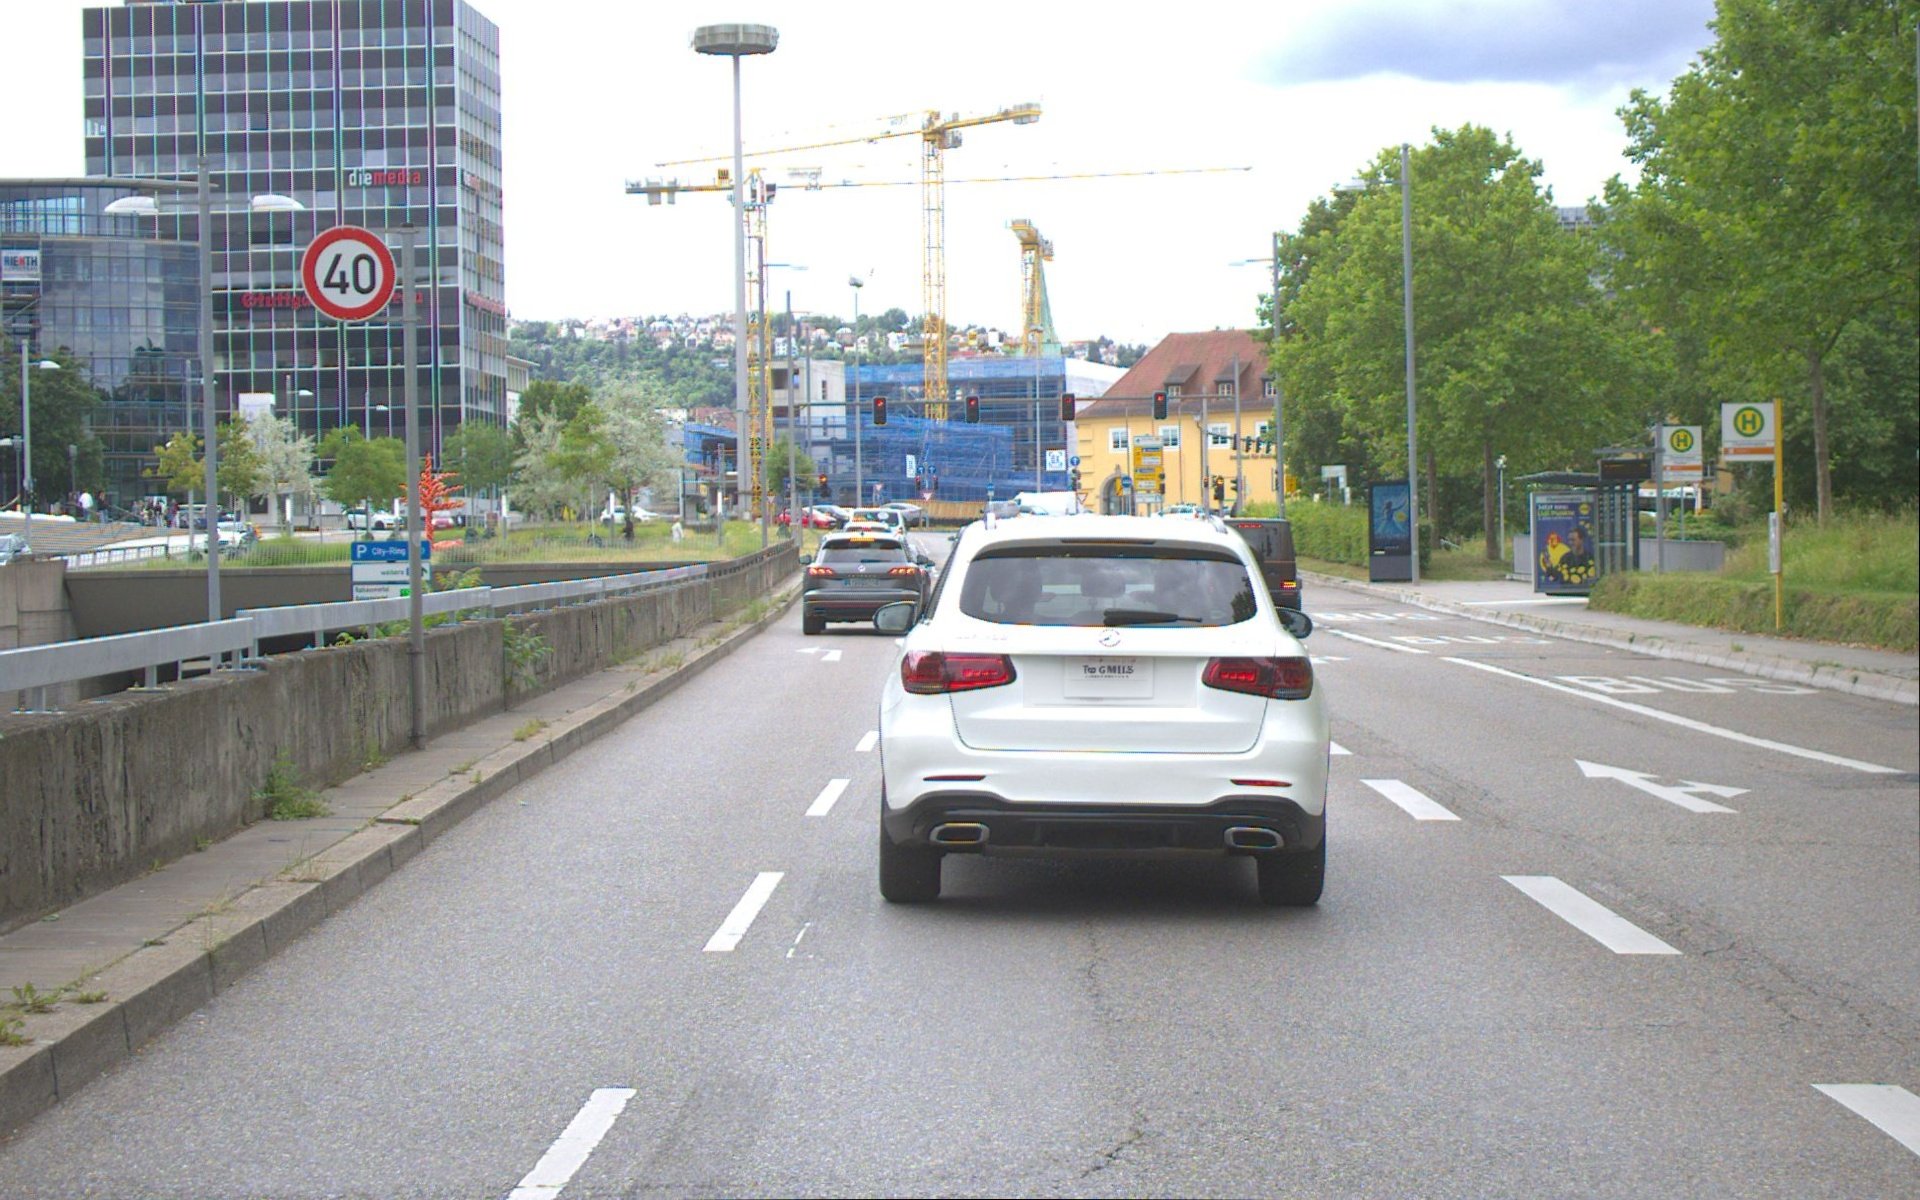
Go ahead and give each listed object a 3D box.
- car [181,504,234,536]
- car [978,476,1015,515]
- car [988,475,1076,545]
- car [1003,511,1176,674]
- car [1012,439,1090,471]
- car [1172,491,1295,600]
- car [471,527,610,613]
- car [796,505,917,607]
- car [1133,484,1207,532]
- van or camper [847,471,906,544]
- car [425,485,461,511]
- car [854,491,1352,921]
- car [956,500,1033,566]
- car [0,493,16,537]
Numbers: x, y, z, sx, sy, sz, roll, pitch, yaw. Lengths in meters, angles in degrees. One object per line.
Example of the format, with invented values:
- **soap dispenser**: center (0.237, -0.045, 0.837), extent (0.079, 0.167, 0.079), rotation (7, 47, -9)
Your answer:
- **car**: center (-35.652, -3.790, 162.938), extent (1.809, 1.422, 3.708), rotation (2, 1, -2)
- **car**: center (1.986, -5.657, 186.749), extent (1.800, 2.007, 4.000), rotation (2, 1, -1)
- **car**: center (1.789, -2.242, 86.544), extent (1.993, 1.656, 4.000), rotation (2, 1, -1)
- **car**: center (1.351, -0.122, 37.153), extent (1.672, 1.622, 4.000), rotation (2, 1, 0)
- **car**: center (6.134, -9.804, 231.946), extent (5.285, 2.053, 1.869), rotation (3, 1, 43)
- **car**: center (5.022, -1.007, 63.706), extent (1.978, 1.887, 4.707), rotation (2, 1, 2)
- **car**: center (-6.942, -0.523, 57.164), extent (1.719, 1.288, 4.000), rotation (2, 2, 1)
- **car**: center (-1.689, -0.755, 56.898), extent (1.922, 1.596, 4.001), rotation (0, 2, -1)
- **car**: center (7.413, -3.237, 121.729), extent (1.993, 1.612, 4.001), rotation (2, 1, -5)
- **van or camper**: center (-2.767, -3.036, 114.041), extent (1.922, 2.312, 4.000), rotation (0, 0, -1)
- **car**: center (-33.653, -6.641, 223.750), extent (1.867, 1.612, 3.482), rotation (2, 1, -1)
- **car**: center (0.578, 0.379, 15.425), extent (1.940, 1.678, 4.000), rotation (0, 1, 1)
- **car**: center (0.952, -1.888, 96.876), extent (1.993, 1.774, 4.000), rotation (2, 1, -1)
- **car**: center (-30.815, -2.688, 107.537), extent (1.832, 1.355, 3.869), rotation (2, 1, -6)
